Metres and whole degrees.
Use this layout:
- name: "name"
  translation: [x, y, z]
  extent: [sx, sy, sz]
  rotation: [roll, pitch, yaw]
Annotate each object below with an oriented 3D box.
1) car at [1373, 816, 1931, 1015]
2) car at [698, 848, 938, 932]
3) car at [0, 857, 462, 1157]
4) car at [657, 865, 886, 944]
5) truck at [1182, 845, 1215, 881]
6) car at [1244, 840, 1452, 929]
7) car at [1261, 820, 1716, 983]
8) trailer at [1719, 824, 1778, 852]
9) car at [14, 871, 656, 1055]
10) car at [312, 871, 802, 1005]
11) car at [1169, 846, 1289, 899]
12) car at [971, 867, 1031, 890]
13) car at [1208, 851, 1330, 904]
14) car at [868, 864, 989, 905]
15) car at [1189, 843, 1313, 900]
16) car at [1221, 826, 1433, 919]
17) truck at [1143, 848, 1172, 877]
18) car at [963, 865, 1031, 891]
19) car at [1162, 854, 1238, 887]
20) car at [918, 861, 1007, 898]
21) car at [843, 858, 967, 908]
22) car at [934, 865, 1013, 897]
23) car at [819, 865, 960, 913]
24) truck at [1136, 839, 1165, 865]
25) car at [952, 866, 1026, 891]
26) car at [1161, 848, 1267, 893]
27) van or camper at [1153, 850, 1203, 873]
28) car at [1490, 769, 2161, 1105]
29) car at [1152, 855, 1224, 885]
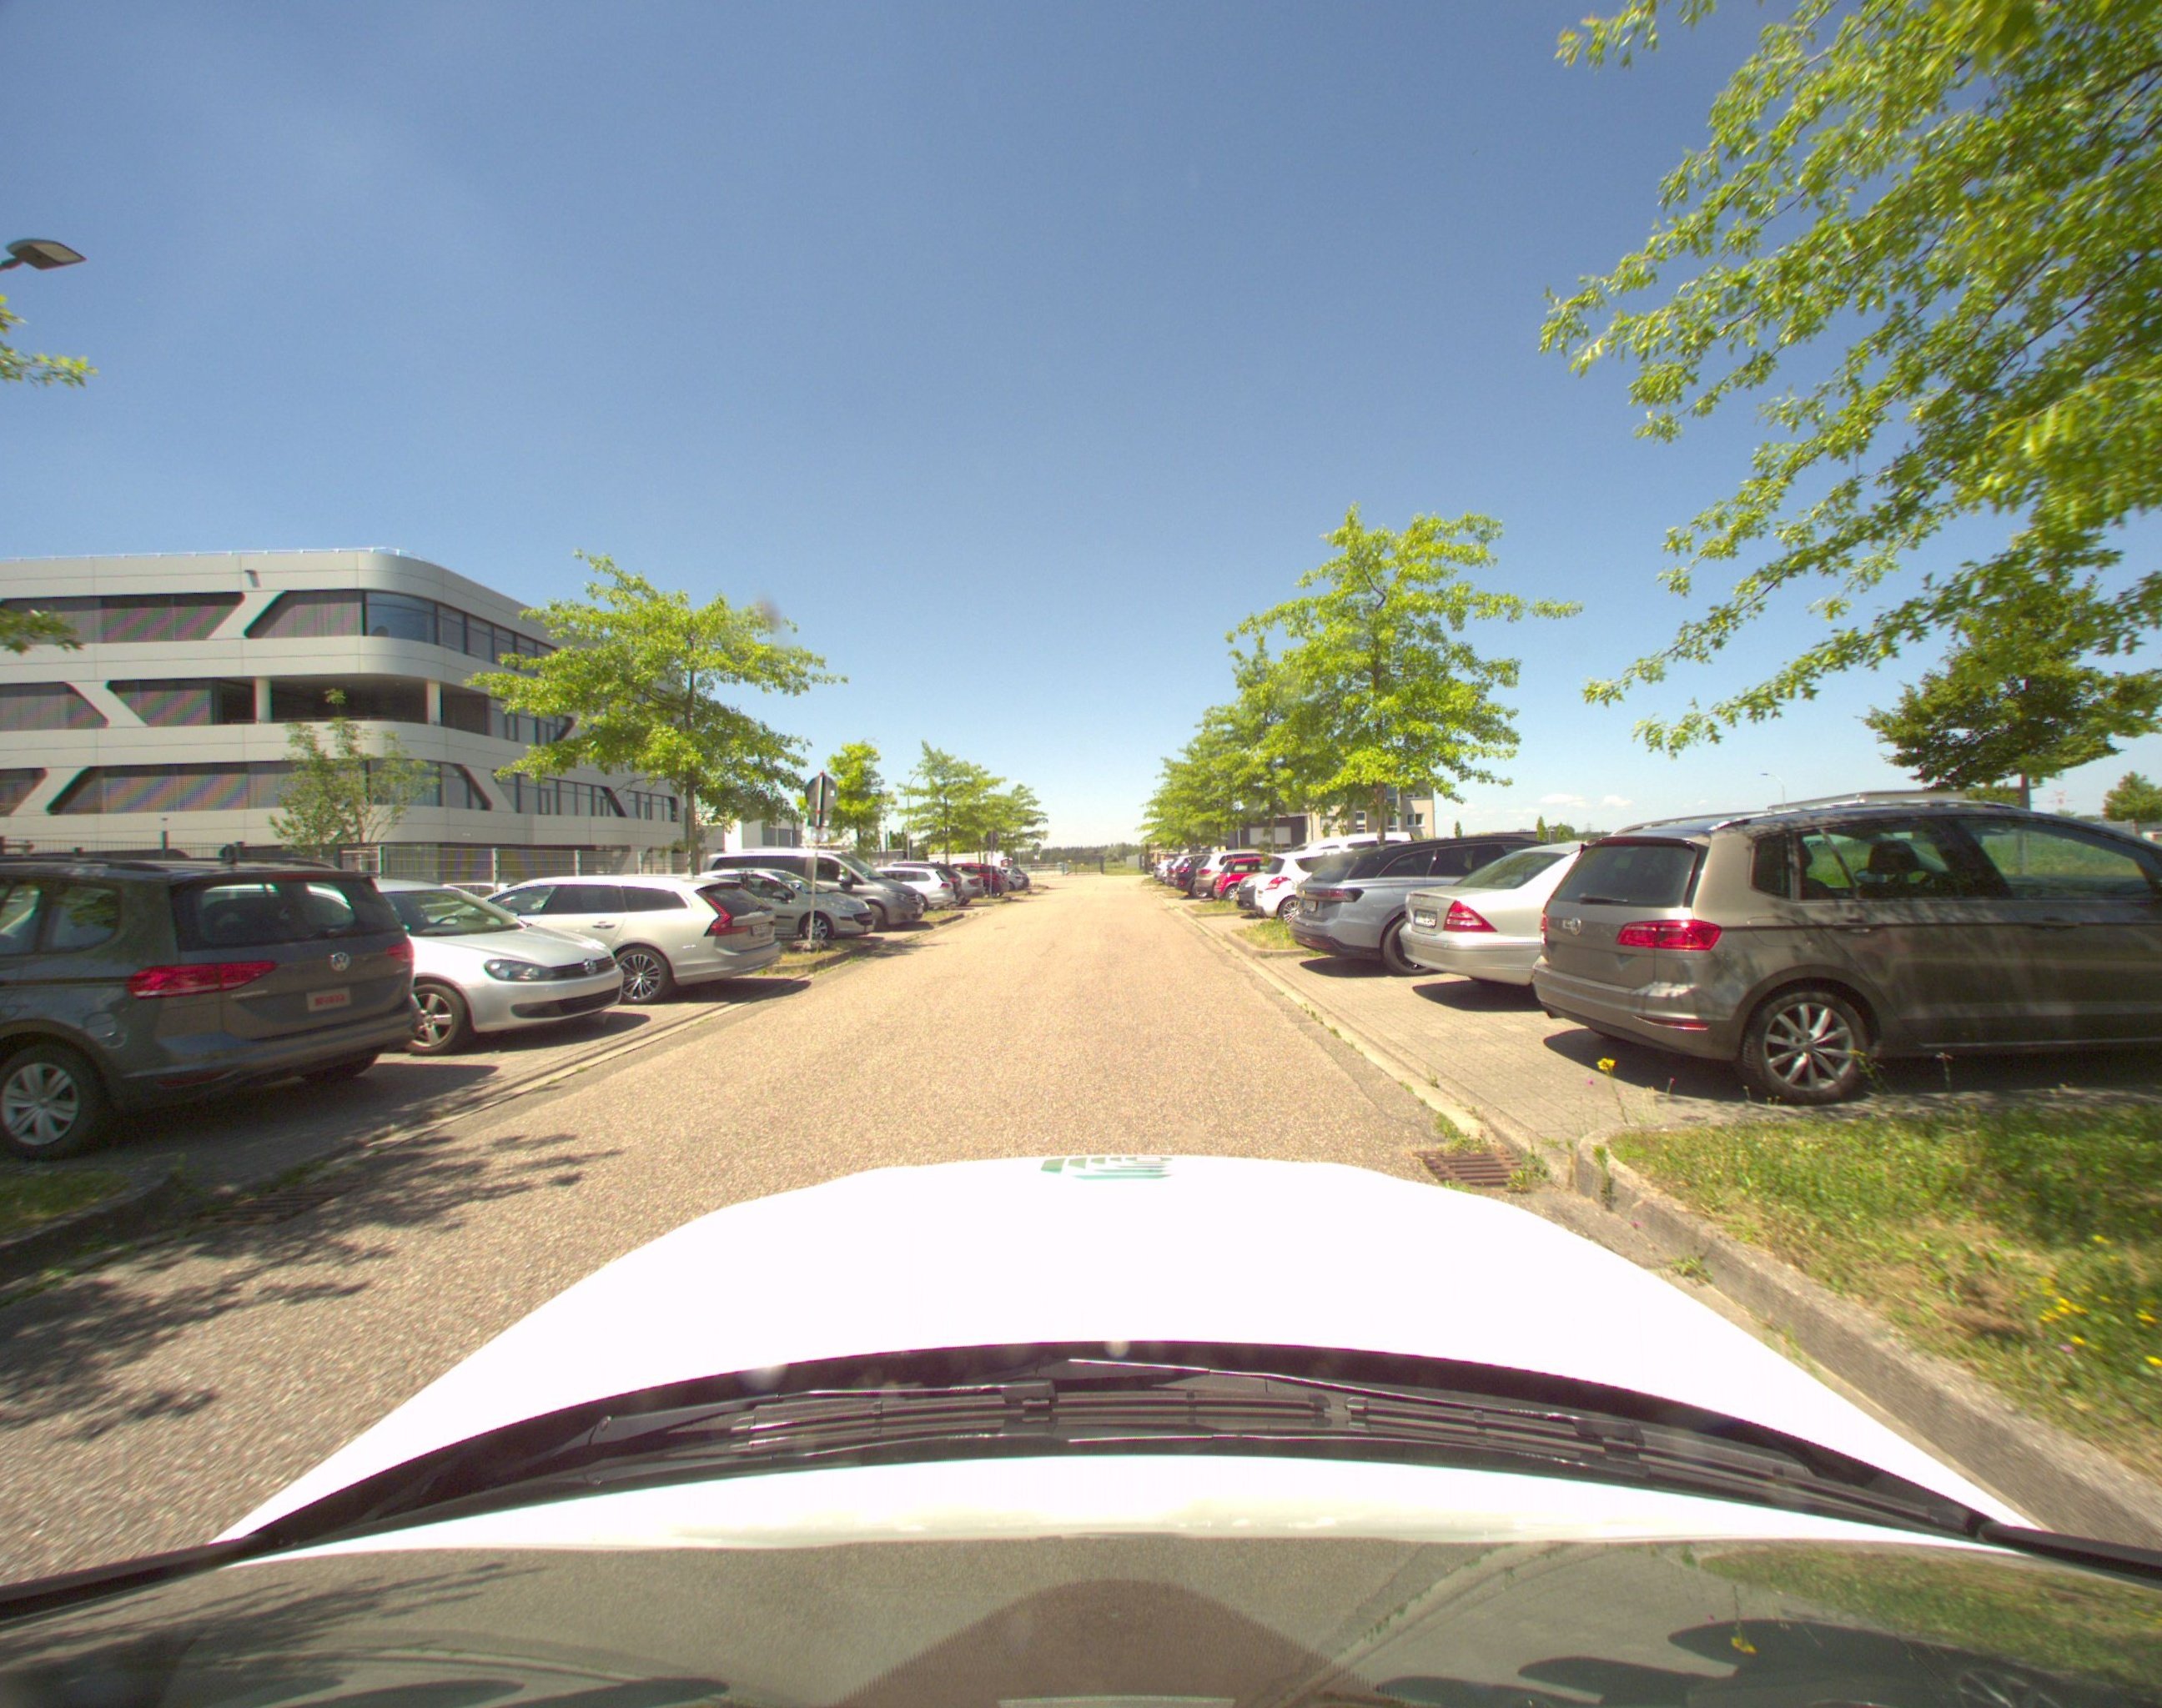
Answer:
- name: "car"
  translation: [5.095, 0.533, 7.704]
  extent: [4.031, 1.453, 1.646]
  rotation: [-3, -1, 2]
- name: "car"
  translation: [-6.190, 0.825, 19.565]
  extent: [5.048, 1.892, 1.998]
  rotation: [0, -1, 3]
- name: "car"
  translation: [-6.767, 0.836, 5.314]
  extent: [4.103, 1.634, 1.727]
  rotation: [0, 0, 0]
- name: "car"
  translation: [-6.190, 0.985, 16.596]
  extent: [3.953, 1.484, 1.764]
  rotation: [0, -1, 2]
- name: "truck"
  translation: [13.931, 1.052, 96.663]
  extent: [2.911, 3.929, 6.937]
  rotation: [-2, -1, 1]
- name: "car"
  translation: [5.292, 0.602, 16.502]
  extent: [3.617, 1.503, 1.677]
  rotation: [-3, -1, 2]
- name: "car"
  translation: [4.858, 0.539, 10.189]
  extent: [4.704, 1.561, 1.912]
  rotation: [-3, -1, -2]
- name: "trailer"
  translation: [66.240, -1.574, 80.872]
  extent: [3.974, 2.600, 2.233]
  rotation: [-2, -1, 0]
- name: "car"
  translation: [-6.579, 0.914, 7.572]
  extent: [4.298, 1.473, 1.727]
  rotation: [0, 0, -1]
- name: "car"
  translation: [-6.094, 0.941, 9.943]
  extent: [4.700, 1.447, 1.856]
  rotation: [0, 0, -2]
- name: "car"
  translation: [5.530, 0.676, 30.773]
  extent: [4.159, 1.696, 1.782]
  rotation: [-3, -1, 0]
- name: "car"
  translation: [-4.971, 1.543, 51.180]
  extent: [3.615, 1.436, 1.725]
  rotation: [0, -1, -1]
- name: "car"
  translation: [5.887, 0.723, 25.829]
  extent: [3.445, 1.417, 1.755]
  rotation: [-3, -1, 1]
- name: "car"
  translation: [-5.685, 1.138, 30.732]
  extent: [4.177, 1.480, 1.713]
  rotation: [0, -1, 2]
- name: "car"
  translation: [5.788, 0.599, 28.059]
  extent: [3.861, 1.678, 1.783]
  rotation: [-3, -1, 2]
- name: "car"
  translation: [5.659, 0.427, 19.144]
  extent: [4.385, 1.830, 1.797]
  rotation: [-3, -1, 2]
- name: "truck"
  translation: [8.642, 0.999, 92.724]
  extent: [2.717, 3.062, 6.937]
  rotation: [-2, -1, 1]
- name: "car"
  translation: [-5.008, 1.451, 48.879]
  extent: [3.916, 1.521, 1.784]
  rotation: [0, -1, -1]
- name: "car"
  translation: [6.745, 0.945, 46.468]
  extent: [4.052, 1.608, 1.902]
  rotation: [-3, -2, 2]
- name: "car"
  translation: [-5.348, 1.127, 36.991]
  extent: [3.723, 1.621, 1.817]
  rotation: [0, -1, 2]
- name: "car"
  translation: [-6.045, 1.001, 28.328]
  extent: [3.978, 1.678, 1.775]
  rotation: [0, -1, -4]
- name: "car"
  translation: [-5.164, 1.288, 39.602]
  extent: [3.647, 1.508, 1.730]
  rotation: [0, -1, -2]
- name: "car"
  translation: [-5.945, 1.077, 25.570]
  extent: [4.026, 1.461, 1.603]
  rotation: [0, -1, -2]
- name: "truck"
  translation: [8.489, -0.184, 100.063]
  extent: [2.911, 2.938, 6.937]
  rotation: [-2, -1, 1]
- name: "car"
  translation: [-5.209, 1.395, 46.487]
  extent: [4.065, 1.424, 1.872]
  rotation: [0, -1, -2]
- name: "car"
  translation: [6.003, 0.733, 37.076]
  extent: [4.435, 1.768, 1.992]
  rotation: [-3, -1, -1]
- name: "van or camper"
  translation: [10.054, 0.741, 84.679]
  extent: [4.919, 2.163, 2.000]
  rotation: [-2, 0, 1]
- name: "car"
  translation: [5.068, 0.415, 5.151]
  extent: [4.031, 1.625, 1.694]
  rotation: [-3, -1, 2]
- name: "car"
  translation: [6.701, 1.008, 51.389]
  extent: [4.263, 1.644, 1.851]
  rotation: [-3, -1, 1]
